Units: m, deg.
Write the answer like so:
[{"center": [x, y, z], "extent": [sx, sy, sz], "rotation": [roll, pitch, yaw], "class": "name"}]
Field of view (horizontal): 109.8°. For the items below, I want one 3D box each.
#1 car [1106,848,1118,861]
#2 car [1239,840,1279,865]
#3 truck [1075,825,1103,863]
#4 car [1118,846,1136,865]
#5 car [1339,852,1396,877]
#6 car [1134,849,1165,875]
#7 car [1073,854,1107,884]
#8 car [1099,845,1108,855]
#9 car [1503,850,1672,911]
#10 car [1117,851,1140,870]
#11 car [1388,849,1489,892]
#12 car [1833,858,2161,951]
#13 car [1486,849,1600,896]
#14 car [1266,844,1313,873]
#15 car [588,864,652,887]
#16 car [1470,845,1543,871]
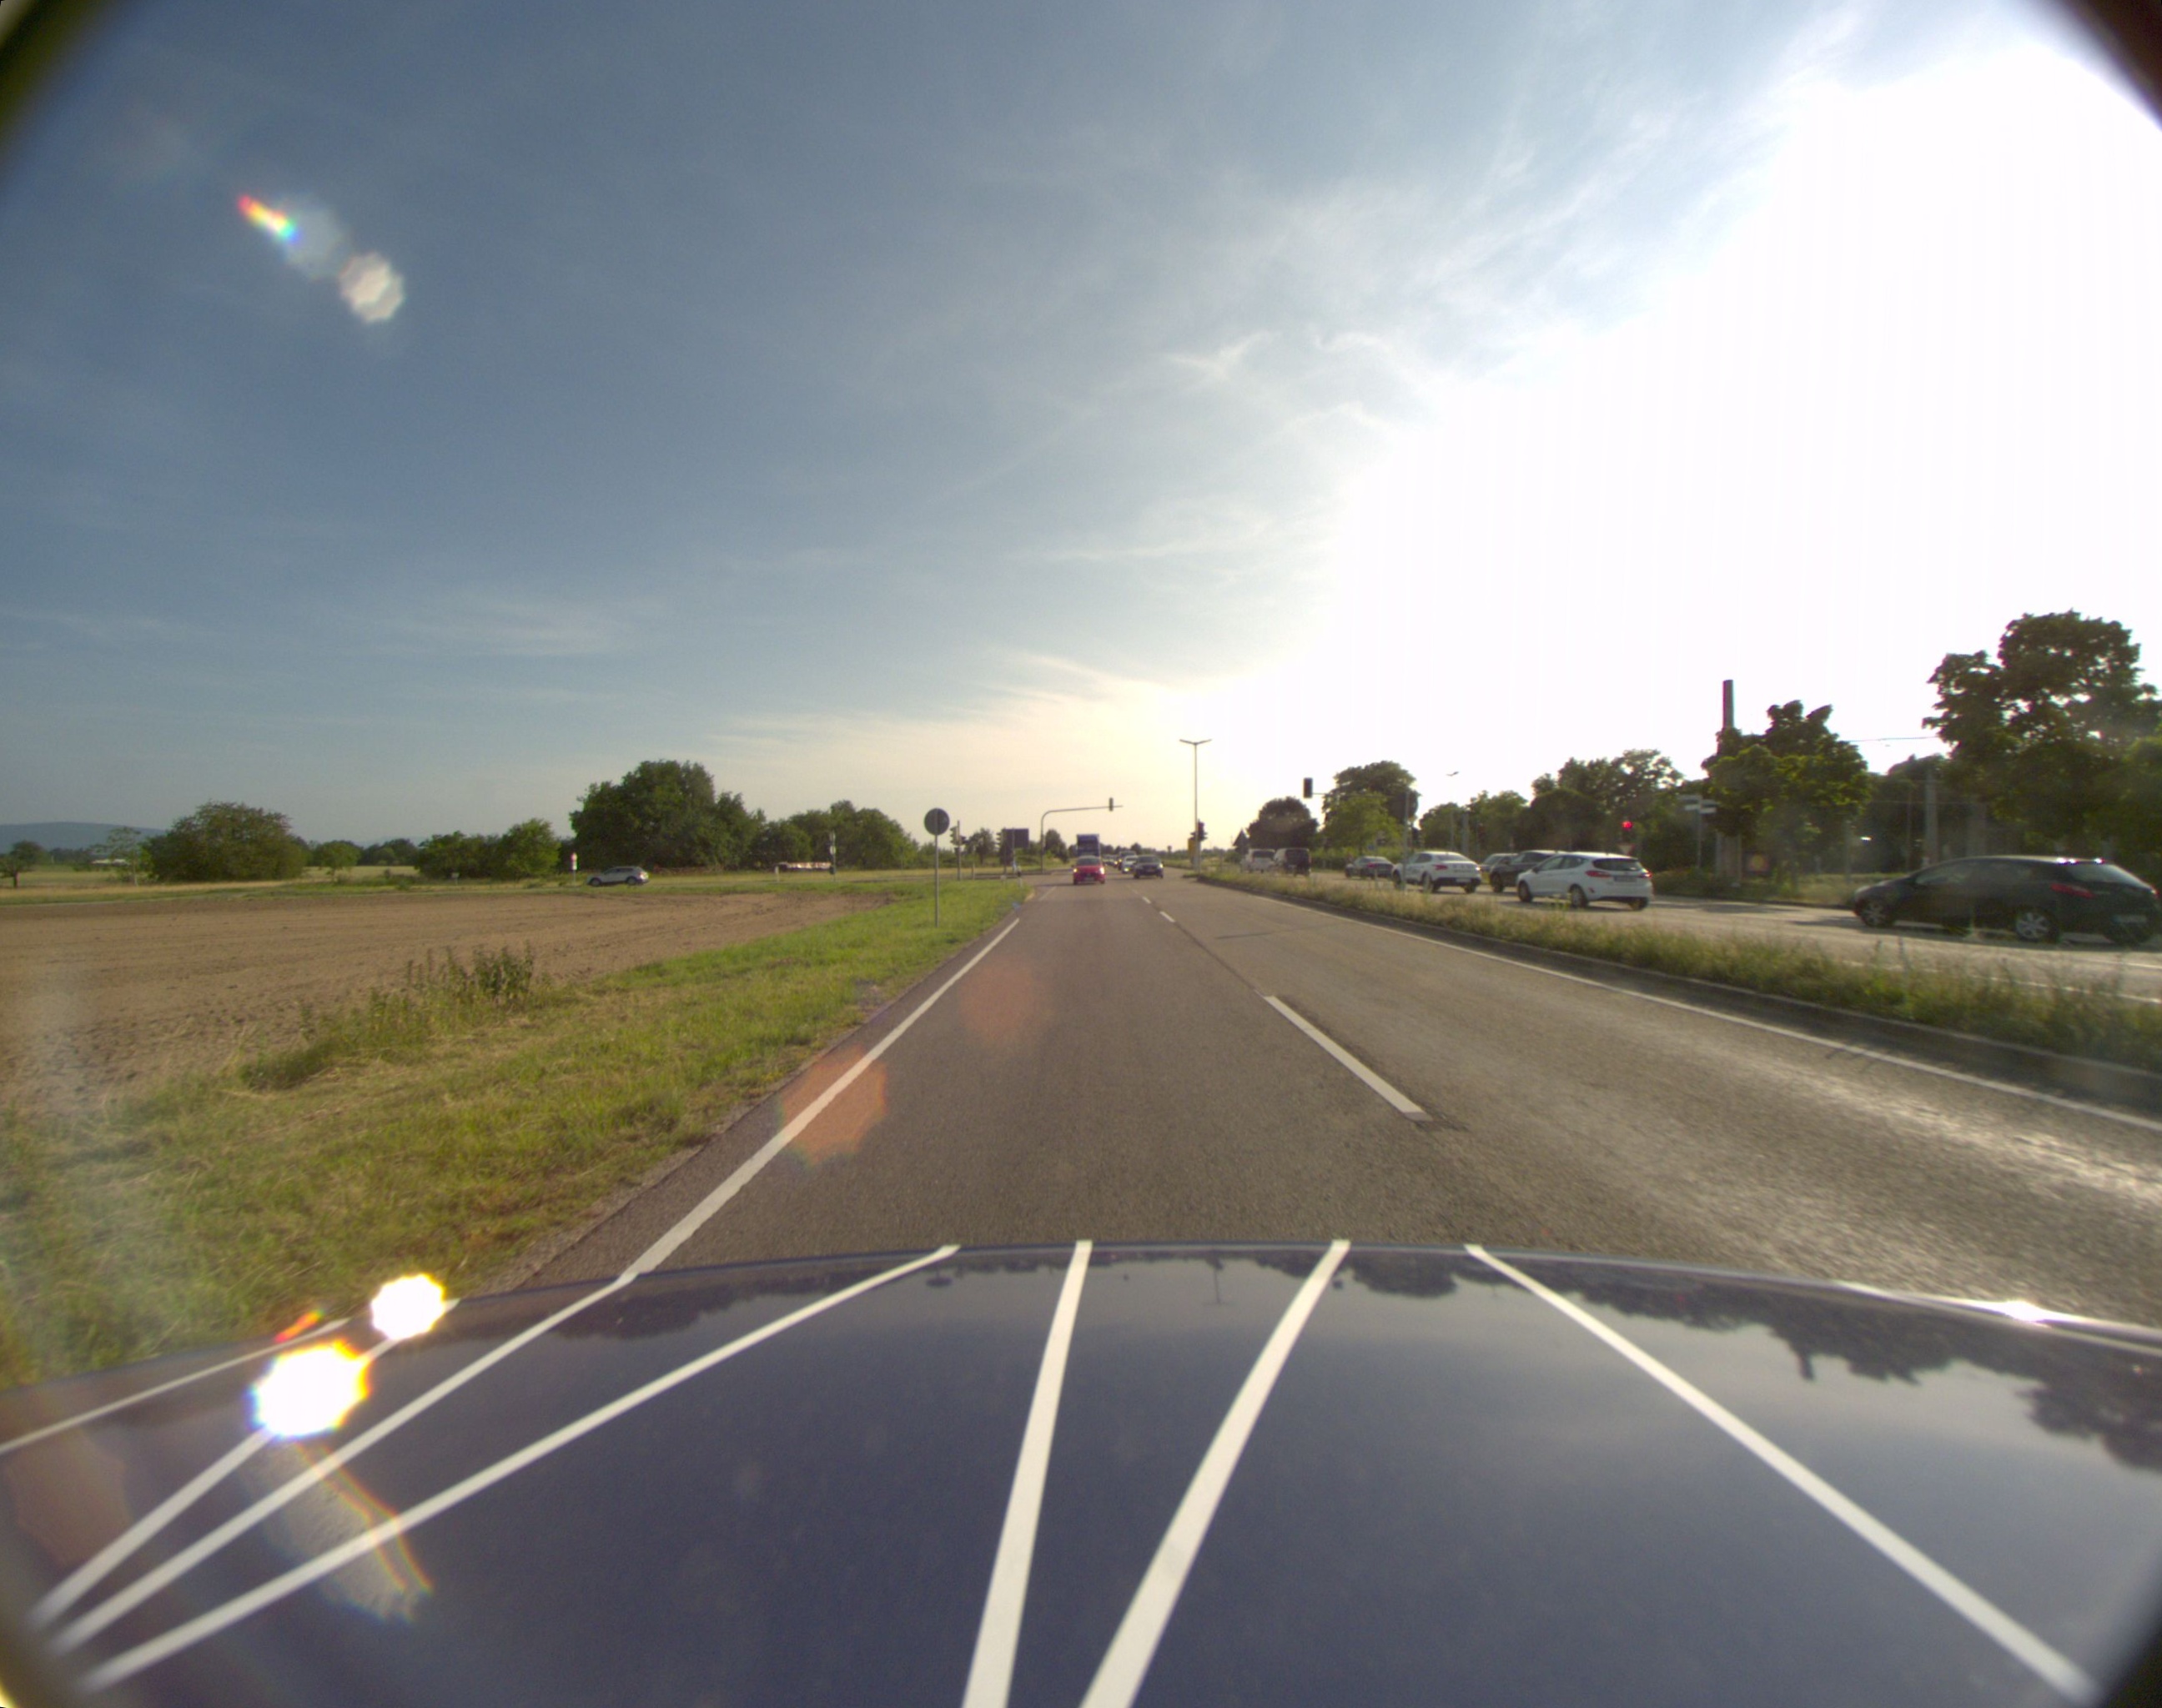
[{"center": [4.589, 0.055, 114.136], "extent": [1.636, 1.833, 4.000], "rotation": [-2, 0, 1], "class": "car"}, {"center": [13.959, -0.102, 59.751], "extent": [1.998, 1.818, 5.079], "rotation": [1, 1, 1], "class": "car"}, {"center": [0.947, -1.085, 85.351], "extent": [2.849, 3.896, 10.104], "rotation": [-2, 0, 1], "class": "truck"}, {"center": [4.671, 0.126, 77.337], "extent": [1.636, 1.833, 4.000], "rotation": [-2, 0, 1], "class": "car"}, {"center": [17.254, 0.596, 45.950], "extent": [1.862, 1.337, 4.373], "rotation": [1, 0, 1], "class": "car"}, {"center": [4.324, 0.496, 48.441], "extent": [1.636, 1.500, 4.000], "rotation": [-2, 0, 1], "class": "car"}, {"center": [0.516, 0.761, 41.458], "extent": [1.735, 1.467, 4.000], "rotation": [-2, 0, 1], "class": "car"}, {"center": [4.714, -0.832, 159.383], "extent": [1.636, 1.833, 4.000], "rotation": [-2, 0, 1], "class": "car"}, {"center": [13.677, 0.637, 20.884], "extent": [1.823, 1.461, 4.294], "rotation": [1, 0, 1], "class": "car"}, {"center": [3.910, 0.484, 62.685], "extent": [1.636, 1.442, 4.000], "rotation": [-2, 0, 1], "class": "car"}, {"center": [13.577, 0.558, 29.178], "extent": [1.756, 1.499, 4.583], "rotation": [1, 0, 1], "class": "car"}, {"center": [16.522, 0.804, 13.840], "extent": [1.664, 1.373, 4.000], "rotation": [1, 0, 1], "class": "car"}, {"center": [16.996, 0.626, 28.204], "extent": [1.801, 1.580, 4.000], "rotation": [1, 0, 1], "class": "car"}, {"center": [13.459, 0.260, 49.217], "extent": [1.862, 1.735, 4.529], "rotation": [1, 1, 1], "class": "car"}, {"center": [-37.964, 1.744, 62.626], "extent": [4.002, 1.641, 1.997], "rotation": [-2, 1, -14], "class": "car"}, {"center": [35.377, 0.315, 63.254], "extent": [4.844, 1.876, 2.253], "rotation": [-2, 1, -4], "class": "car"}]
